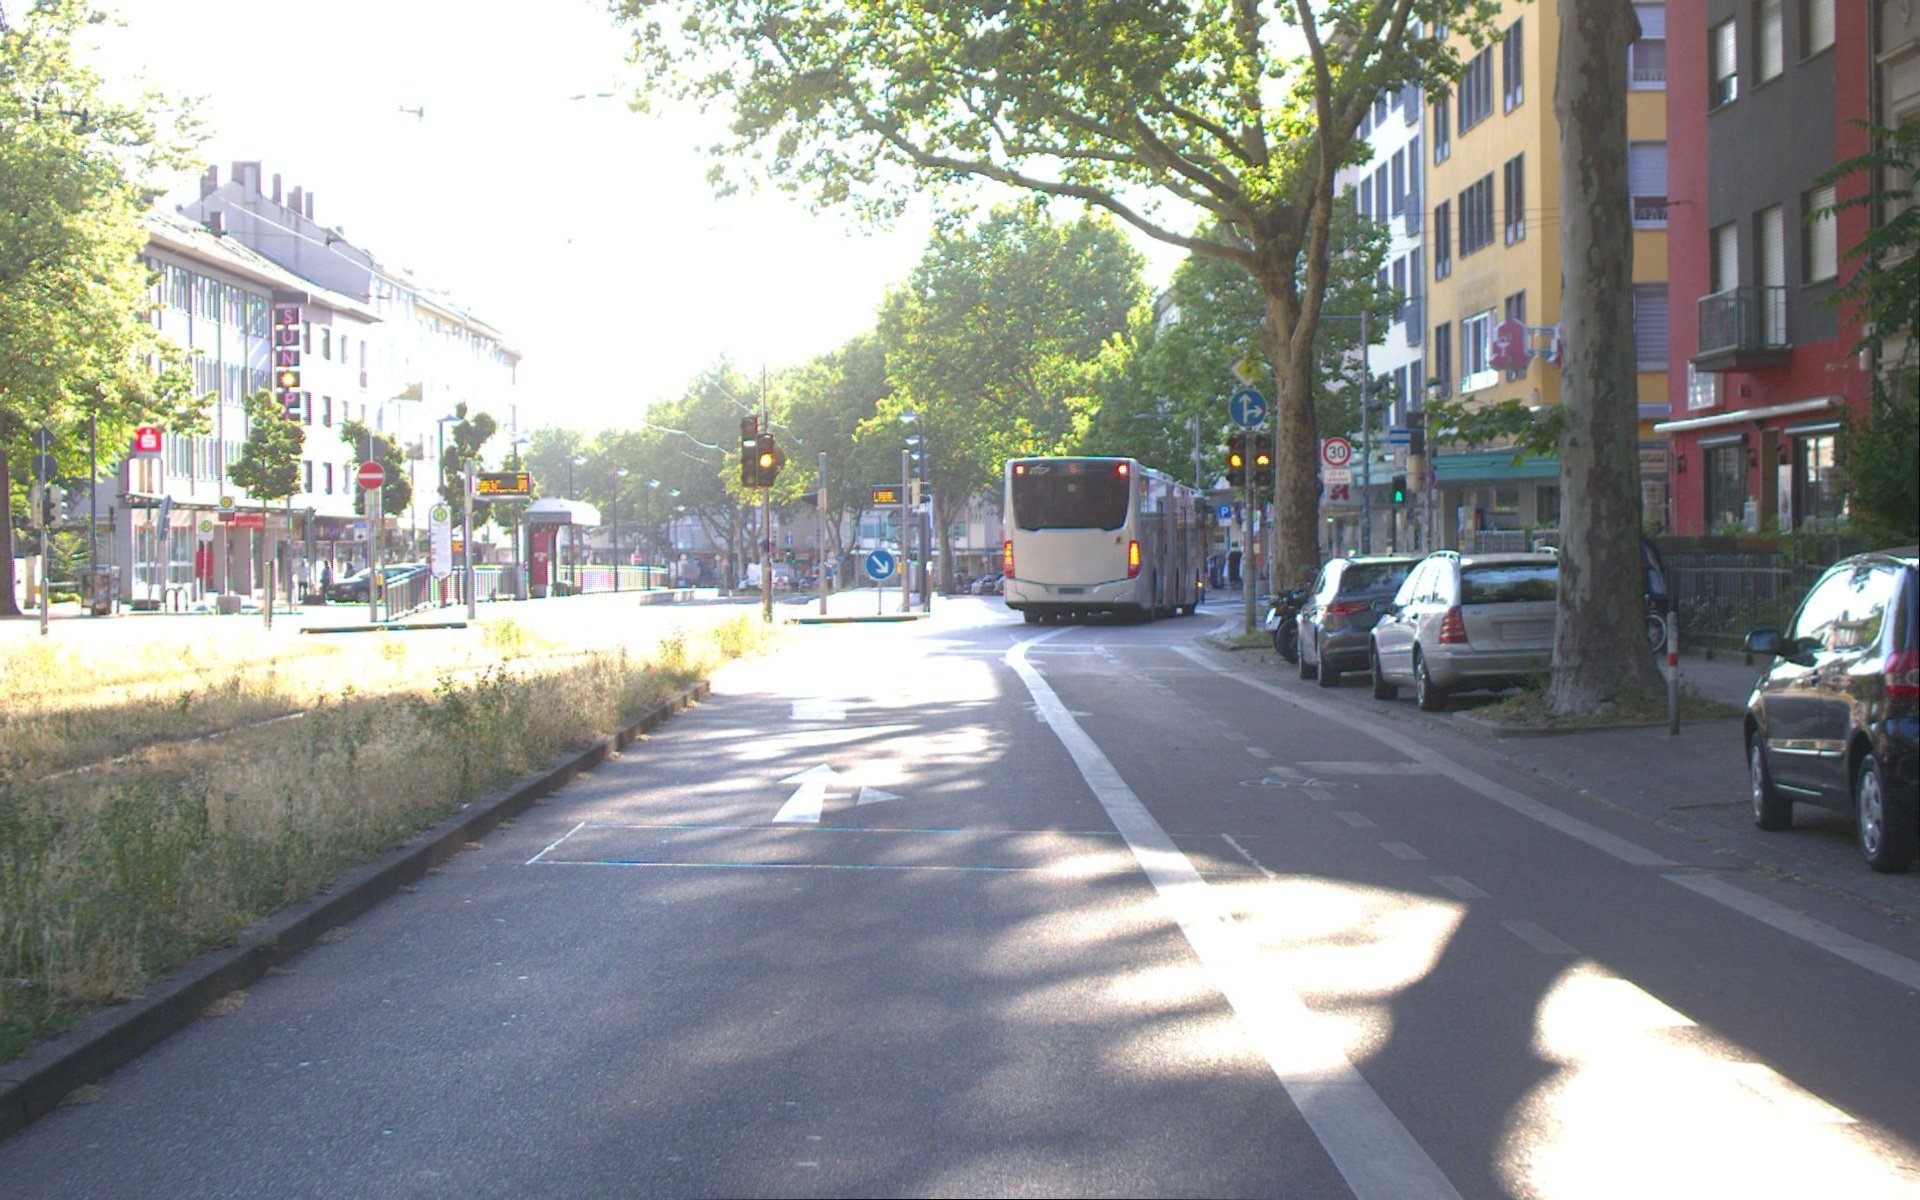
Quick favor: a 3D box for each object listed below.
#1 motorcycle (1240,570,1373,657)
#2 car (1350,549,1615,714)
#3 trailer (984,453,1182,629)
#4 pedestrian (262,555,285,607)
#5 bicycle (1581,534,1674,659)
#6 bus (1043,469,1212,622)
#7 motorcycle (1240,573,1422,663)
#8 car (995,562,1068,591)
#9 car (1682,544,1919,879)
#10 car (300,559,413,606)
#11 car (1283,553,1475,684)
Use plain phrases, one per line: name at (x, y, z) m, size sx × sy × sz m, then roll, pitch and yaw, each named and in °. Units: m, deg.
motorcycle at (4.690, 0.171, 46.495) m, size 1.993 × 1.148 × 0.601 m, roll -1°, pitch 1°, yaw -42°
car at (4.884, 0.246, 32.704) m, size 1.674 × 1.446 × 4.571 m, roll 0°, pitch 1°, yaw -2°
trailer at (2.521, -1.107, 67.159) m, size 2.813 × 3.100 × 8.791 m, roll 2°, pitch 1°, yaw 8°
pedestrian at (-26.558, -0.741, 132.981) m, size 0.708 × 2.007 × 0.949 m, roll 1°, pitch 0°, yaw -3°
bicycle at (7.906, -0.050, 40.794) m, size 0.607 × 1.422 × 2.396 m, roll 2°, pitch 1°, yaw 0°
bus at (3.818, -1.163, 76.015) m, size 2.813 × 3.091 × 9.091 m, roll 2°, pitch 1°, yaw 8°
motorcycle at (4.782, 0.222, 44.318) m, size 2.205 × 1.059 × 0.767 m, roll -2°, pitch 2°, yaw -22°
car at (4.217, -1.416, 203.428) m, size 3.889 × 1.693 × 1.833 m, roll 0°, pitch 1°, yaw -28°
car at (5.048, 0.483, 17.909) m, size 1.653 × 1.540 × 4.000 m, roll 0°, pitch 1°, yaw -1°
car at (-23.667, -0.701, 134.885) m, size 3.986 × 1.809 × 2.000 m, roll 0°, pitch 1°, yaw -26°
car at (4.690, 0.166, 38.972) m, size 1.710 × 1.392 × 4.321 m, roll 0°, pitch 1°, yaw 1°
